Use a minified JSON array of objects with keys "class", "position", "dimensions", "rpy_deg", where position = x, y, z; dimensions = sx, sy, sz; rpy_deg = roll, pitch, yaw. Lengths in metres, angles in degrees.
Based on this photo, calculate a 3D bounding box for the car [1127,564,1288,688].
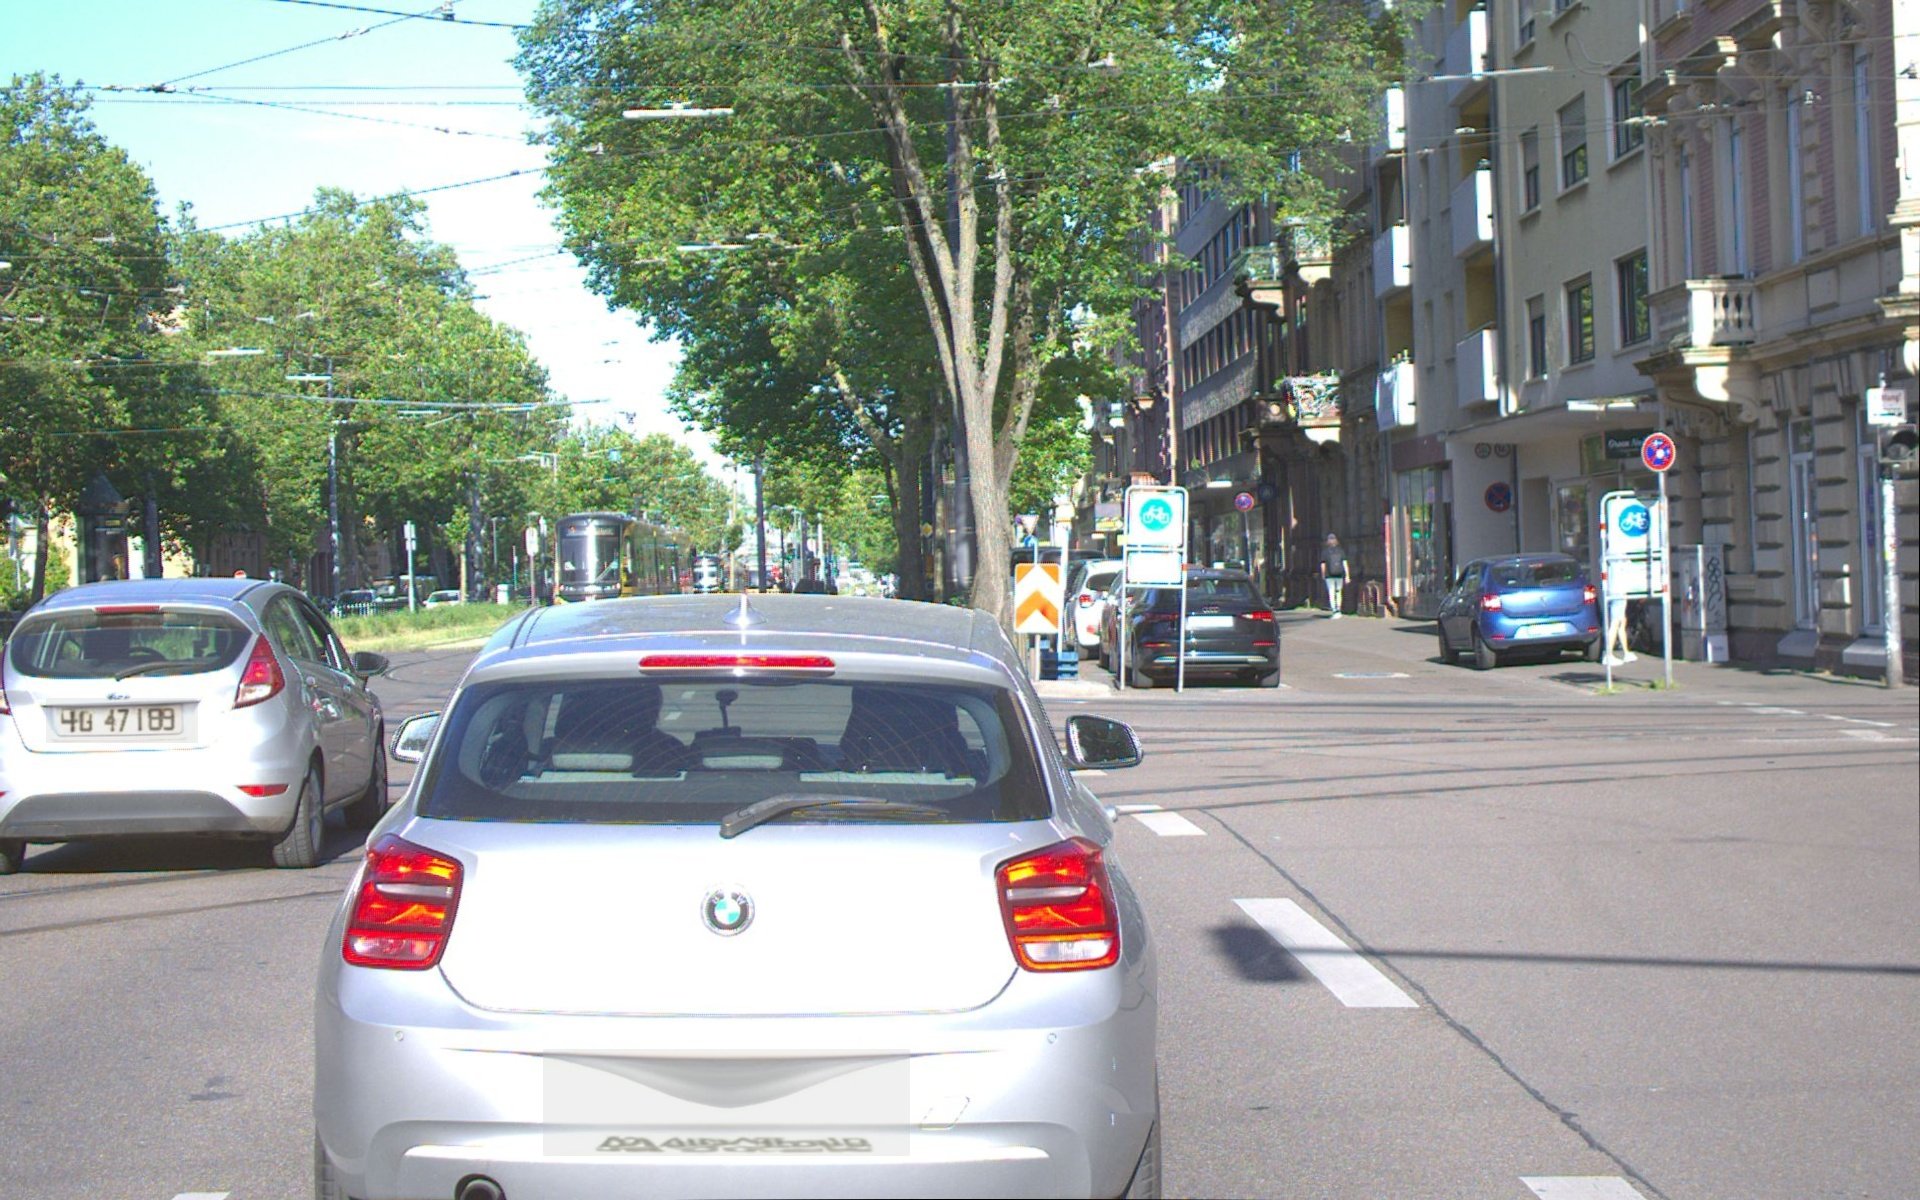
[{"class":"car","position":[2.968,0.287,41.844],"dimensions":[1.735,1.428,3.678],"rpy_deg":[0,1,1]}]

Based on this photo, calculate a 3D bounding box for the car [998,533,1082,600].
[{"class":"car","position":[1.802,-0.771,78.462],"dimensions":[1.724,1.502,3.555],"rpy_deg":[0,1,-2]}]

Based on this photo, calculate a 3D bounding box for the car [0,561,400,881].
[{"class":"car","position":[-3.979,0.549,18.092],"dimensions":[1.609,1.462,3.890],"rpy_deg":[-1,1,-3]}]

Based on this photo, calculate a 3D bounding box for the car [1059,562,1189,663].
[{"class":"car","position":[2.501,0.173,53.126],"dimensions":[1.724,1.502,3.555],"rpy_deg":[0,1,-2]}]

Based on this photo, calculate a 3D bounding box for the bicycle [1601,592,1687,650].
[{"class":"bicycle","position":[9.556,0.286,48.093],"dimensions":[0.754,0.768,1.945],"rpy_deg":[-1,1,-2]}]

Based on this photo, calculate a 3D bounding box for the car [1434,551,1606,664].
[{"class":"car","position":[7.755,0.074,47.898],"dimensions":[1.735,1.514,3.637],"rpy_deg":[0,1,-1]}]

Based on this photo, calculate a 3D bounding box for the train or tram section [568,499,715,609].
[{"class":"train or tram section","position":[-11.982,-1.752,131.385],"dimensions":[4.005,3.852,17.489],"rpy_deg":[-1,1,0]}]

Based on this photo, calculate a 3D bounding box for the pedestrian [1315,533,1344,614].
[{"class":"pedestrian","position":[8.262,-0.600,76.817],"dimensions":[0.505,1.796,0.805],"rpy_deg":[-2,1,-1]}]

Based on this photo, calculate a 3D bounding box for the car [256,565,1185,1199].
[{"class":"car","position":[-0.470,0.657,8.461],"dimensions":[1.740,1.462,4.000],"rpy_deg":[0,1,-1]}]

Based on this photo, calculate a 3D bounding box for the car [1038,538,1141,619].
[{"class":"car","position":[2.462,-0.428,65.812],"dimensions":[1.724,1.502,3.555],"rpy_deg":[0,1,-2]}]

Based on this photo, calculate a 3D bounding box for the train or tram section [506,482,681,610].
[{"class":"train or tram section","position":[-11.924,-1.759,113.926],"dimensions":[3.969,3.852,17.489],"rpy_deg":[-1,1,0]}]

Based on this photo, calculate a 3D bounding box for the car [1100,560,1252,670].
[{"class":"car","position":[2.895,0.178,46.703],"dimensions":[1.743,1.428,3.555],"rpy_deg":[0,1,-2]}]
